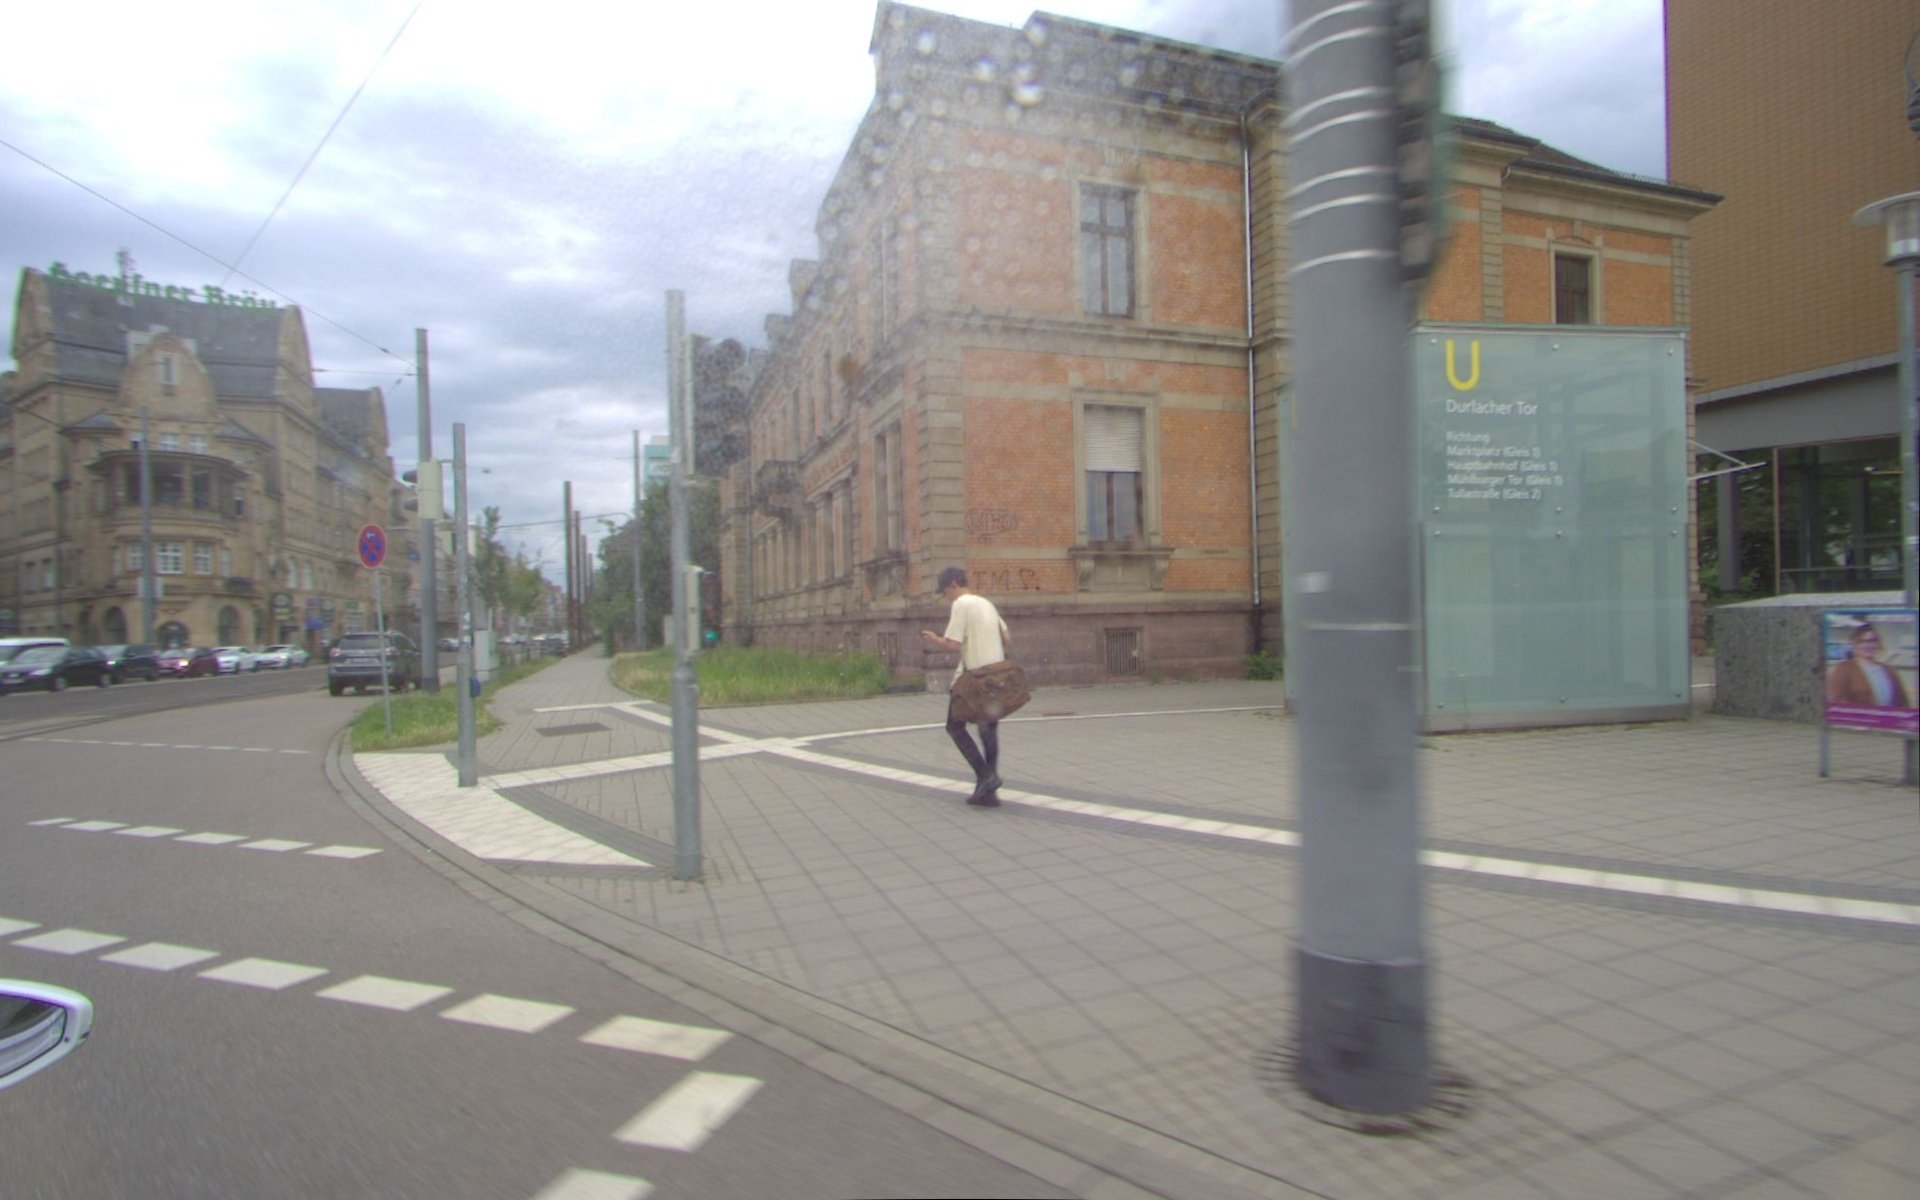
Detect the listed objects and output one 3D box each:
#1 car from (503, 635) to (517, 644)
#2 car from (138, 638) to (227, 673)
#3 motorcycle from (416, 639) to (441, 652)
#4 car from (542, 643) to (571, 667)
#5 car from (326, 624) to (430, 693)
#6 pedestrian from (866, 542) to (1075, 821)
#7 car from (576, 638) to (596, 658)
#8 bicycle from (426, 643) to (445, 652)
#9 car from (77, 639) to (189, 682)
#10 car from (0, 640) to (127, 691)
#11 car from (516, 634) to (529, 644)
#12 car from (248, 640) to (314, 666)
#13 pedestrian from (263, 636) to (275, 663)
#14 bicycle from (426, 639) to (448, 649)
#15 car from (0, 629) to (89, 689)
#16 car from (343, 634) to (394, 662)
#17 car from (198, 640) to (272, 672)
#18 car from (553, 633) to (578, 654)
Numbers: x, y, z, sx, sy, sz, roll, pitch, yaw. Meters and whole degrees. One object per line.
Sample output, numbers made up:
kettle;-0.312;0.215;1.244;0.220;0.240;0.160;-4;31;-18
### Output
car;-72.728;6.393;161.895;1.734;1.468;4.605;-1;-2;-19
car;-35.529;2.498;45.884;1.835;1.417;3.890;-3;-1;-16
motorcycle;-58.273;4.969;109.792;0.871;1.319;2.330;-2;-1;34
car;-27.211;3.695;67.607;1.614;1.452;3.922;-3;-1;-20
car;-16.160;1.584;28.004;1.725;1.778;3.916;1;-2;-18
pedestrian;0.074;0.573;7.526;1.270;1.891;0.881;-2;-1;37
car;-42.352;5.391;113.468;1.825;2.142;4.974;-4;-1;-19
bicycle;-58.589;5.281;111.884;1.898;1.014;0.461;0;-1;-27
car;-33.955;2.449;41.251;1.835;1.554;4.298;-3;-1;-14
car;-28.388;2.028;31.622;1.664;1.460;3.996;-1;-2;-15
car;-79.429;7.086;181.800;1.734;1.693;4.605;-1;-2;-19
car;-39.048;3.015;57.709;1.898;1.397;4.252;-1;-2;-16
pedestrian;-45.654;3.248;66.206;0.624;1.741;0.529;-1;-1;-34
bicycle;-61.163;5.179;117.138;2.203;1.140;0.502;0;-1;-27
car;-32.695;2.000;34.583;1.835;1.940;5.095;-1;-1;-14
car;-38.927;3.119;66.032;1.836;1.728;4.901;-2;-1;-18
car;-37.199;2.846;51.508;1.721;1.397;4.355;-4;-1;-18
car;-32.720;3.551;83.092;1.730;1.595;3.922;-3;-1;-20
